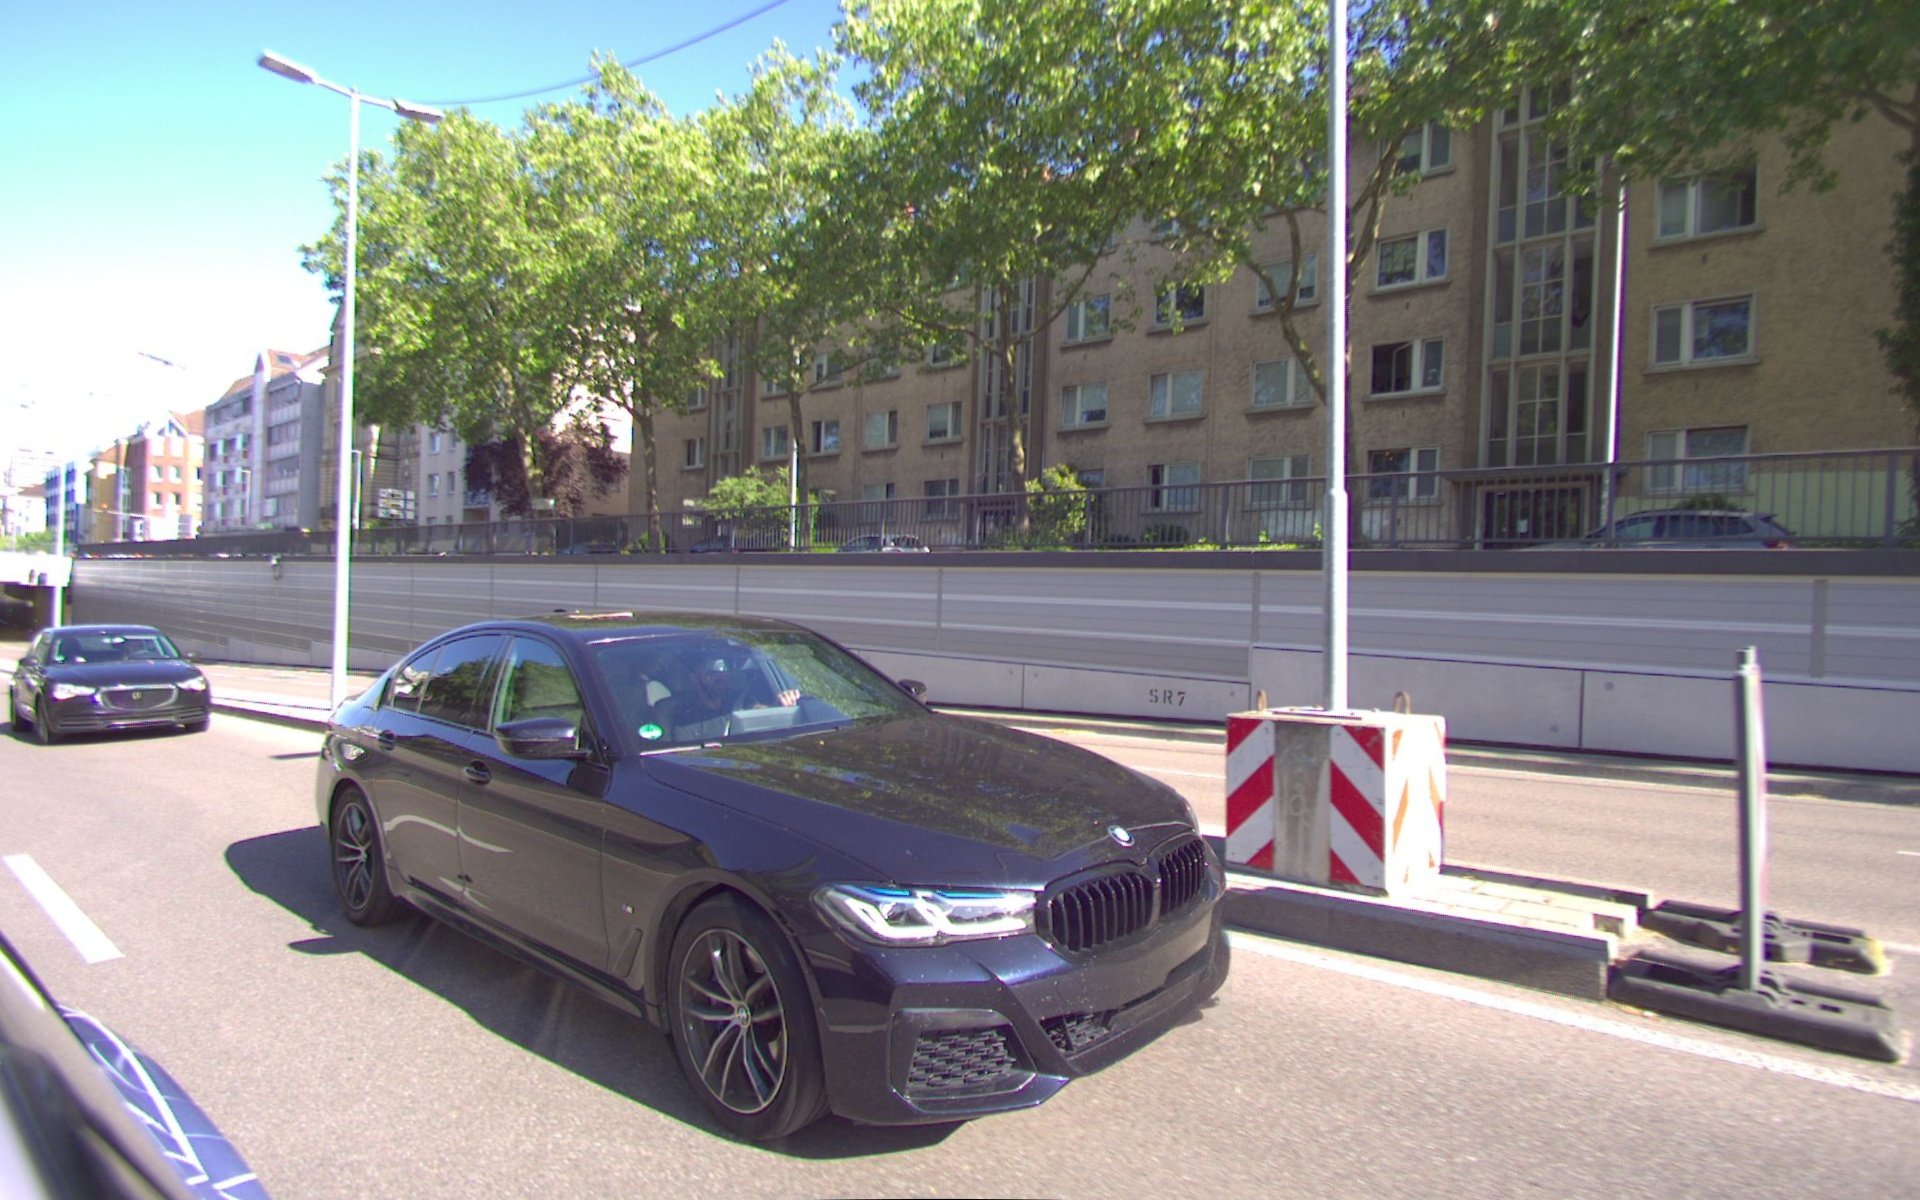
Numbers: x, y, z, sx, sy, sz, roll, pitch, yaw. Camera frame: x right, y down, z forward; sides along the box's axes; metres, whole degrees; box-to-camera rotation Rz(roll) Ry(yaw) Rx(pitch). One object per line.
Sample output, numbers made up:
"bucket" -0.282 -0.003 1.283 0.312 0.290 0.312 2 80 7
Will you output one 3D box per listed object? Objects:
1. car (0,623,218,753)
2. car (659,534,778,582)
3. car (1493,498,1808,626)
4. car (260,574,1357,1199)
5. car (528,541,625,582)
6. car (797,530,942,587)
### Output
"car" -11.333 1.058 13.327 3.885 1.429 1.678 -2 -1 40
"car" -8.661 -1.462 36.135 4.300 1.596 1.902 1 1 39
"car" 12.083 -0.615 17.884 4.412 1.975 1.945 1 1 41
"car" -1.161 0.726 4.313 4.999 1.450 1.790 -2 -1 40
"car" -16.025 -1.567 42.171 4.300 1.596 1.902 1 1 39
"car" -2.791 -1.200 30.795 4.300 1.596 1.902 1 1 39
